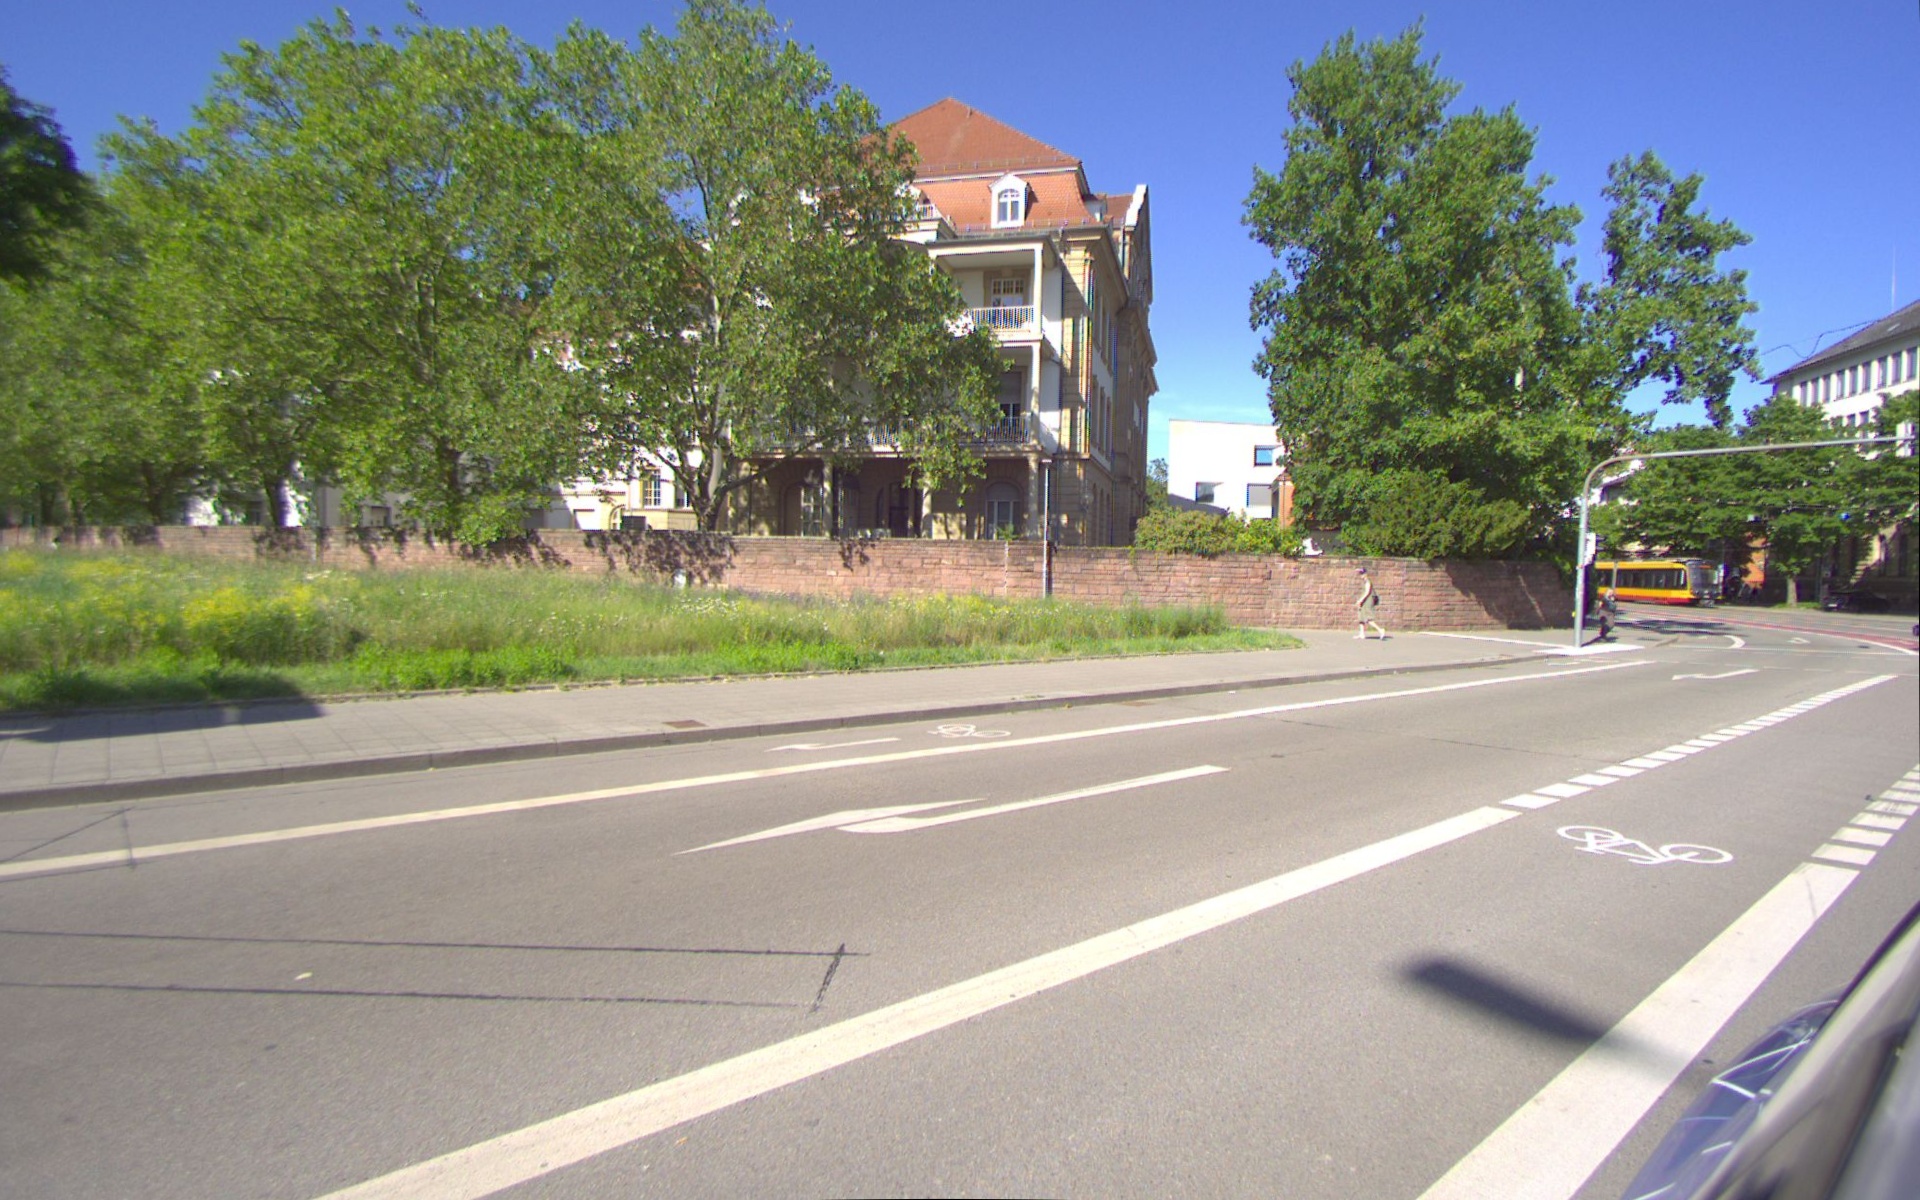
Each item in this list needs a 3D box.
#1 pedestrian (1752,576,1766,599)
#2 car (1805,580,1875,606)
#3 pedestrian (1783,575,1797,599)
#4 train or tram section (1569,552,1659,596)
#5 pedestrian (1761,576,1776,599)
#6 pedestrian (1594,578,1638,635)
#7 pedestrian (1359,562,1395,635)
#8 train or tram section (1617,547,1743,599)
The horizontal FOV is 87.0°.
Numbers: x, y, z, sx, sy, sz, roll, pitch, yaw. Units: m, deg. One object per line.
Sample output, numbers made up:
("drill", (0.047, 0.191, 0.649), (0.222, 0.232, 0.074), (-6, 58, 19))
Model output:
("pedestrian", (68.406, -1.088, 86.630), (0.568, 1.927, 0.781), (1, 1, 12))
("car", (60.049, -0.526, 69.119), (1.806, 1.615, 3.988), (2, 2, 11))
("pedestrian", (69.287, -1.073, 84.481), (0.568, 1.927, 0.849), (1, 1, 12))
("train or tram section", (57.576, -2.361, 89.467), (2.898, 3.563, 11.630), (2, 2, 14))
("pedestrian", (69.089, -1.091, 86.483), (0.568, 1.927, 0.849), (1, 1, 12))
("pedestrian", (20.122, 0.194, 31.056), (0.618, 1.687, 0.933), (0, 2, -35))
("pedestrian", (10.941, -0.057, 26.566), (0.777, 1.881, 0.627), (2, 1, 19))
("train or tram section", (54.451, -2.067, 77.148), (2.899, 3.563, 13.781), (2, 2, 14))
